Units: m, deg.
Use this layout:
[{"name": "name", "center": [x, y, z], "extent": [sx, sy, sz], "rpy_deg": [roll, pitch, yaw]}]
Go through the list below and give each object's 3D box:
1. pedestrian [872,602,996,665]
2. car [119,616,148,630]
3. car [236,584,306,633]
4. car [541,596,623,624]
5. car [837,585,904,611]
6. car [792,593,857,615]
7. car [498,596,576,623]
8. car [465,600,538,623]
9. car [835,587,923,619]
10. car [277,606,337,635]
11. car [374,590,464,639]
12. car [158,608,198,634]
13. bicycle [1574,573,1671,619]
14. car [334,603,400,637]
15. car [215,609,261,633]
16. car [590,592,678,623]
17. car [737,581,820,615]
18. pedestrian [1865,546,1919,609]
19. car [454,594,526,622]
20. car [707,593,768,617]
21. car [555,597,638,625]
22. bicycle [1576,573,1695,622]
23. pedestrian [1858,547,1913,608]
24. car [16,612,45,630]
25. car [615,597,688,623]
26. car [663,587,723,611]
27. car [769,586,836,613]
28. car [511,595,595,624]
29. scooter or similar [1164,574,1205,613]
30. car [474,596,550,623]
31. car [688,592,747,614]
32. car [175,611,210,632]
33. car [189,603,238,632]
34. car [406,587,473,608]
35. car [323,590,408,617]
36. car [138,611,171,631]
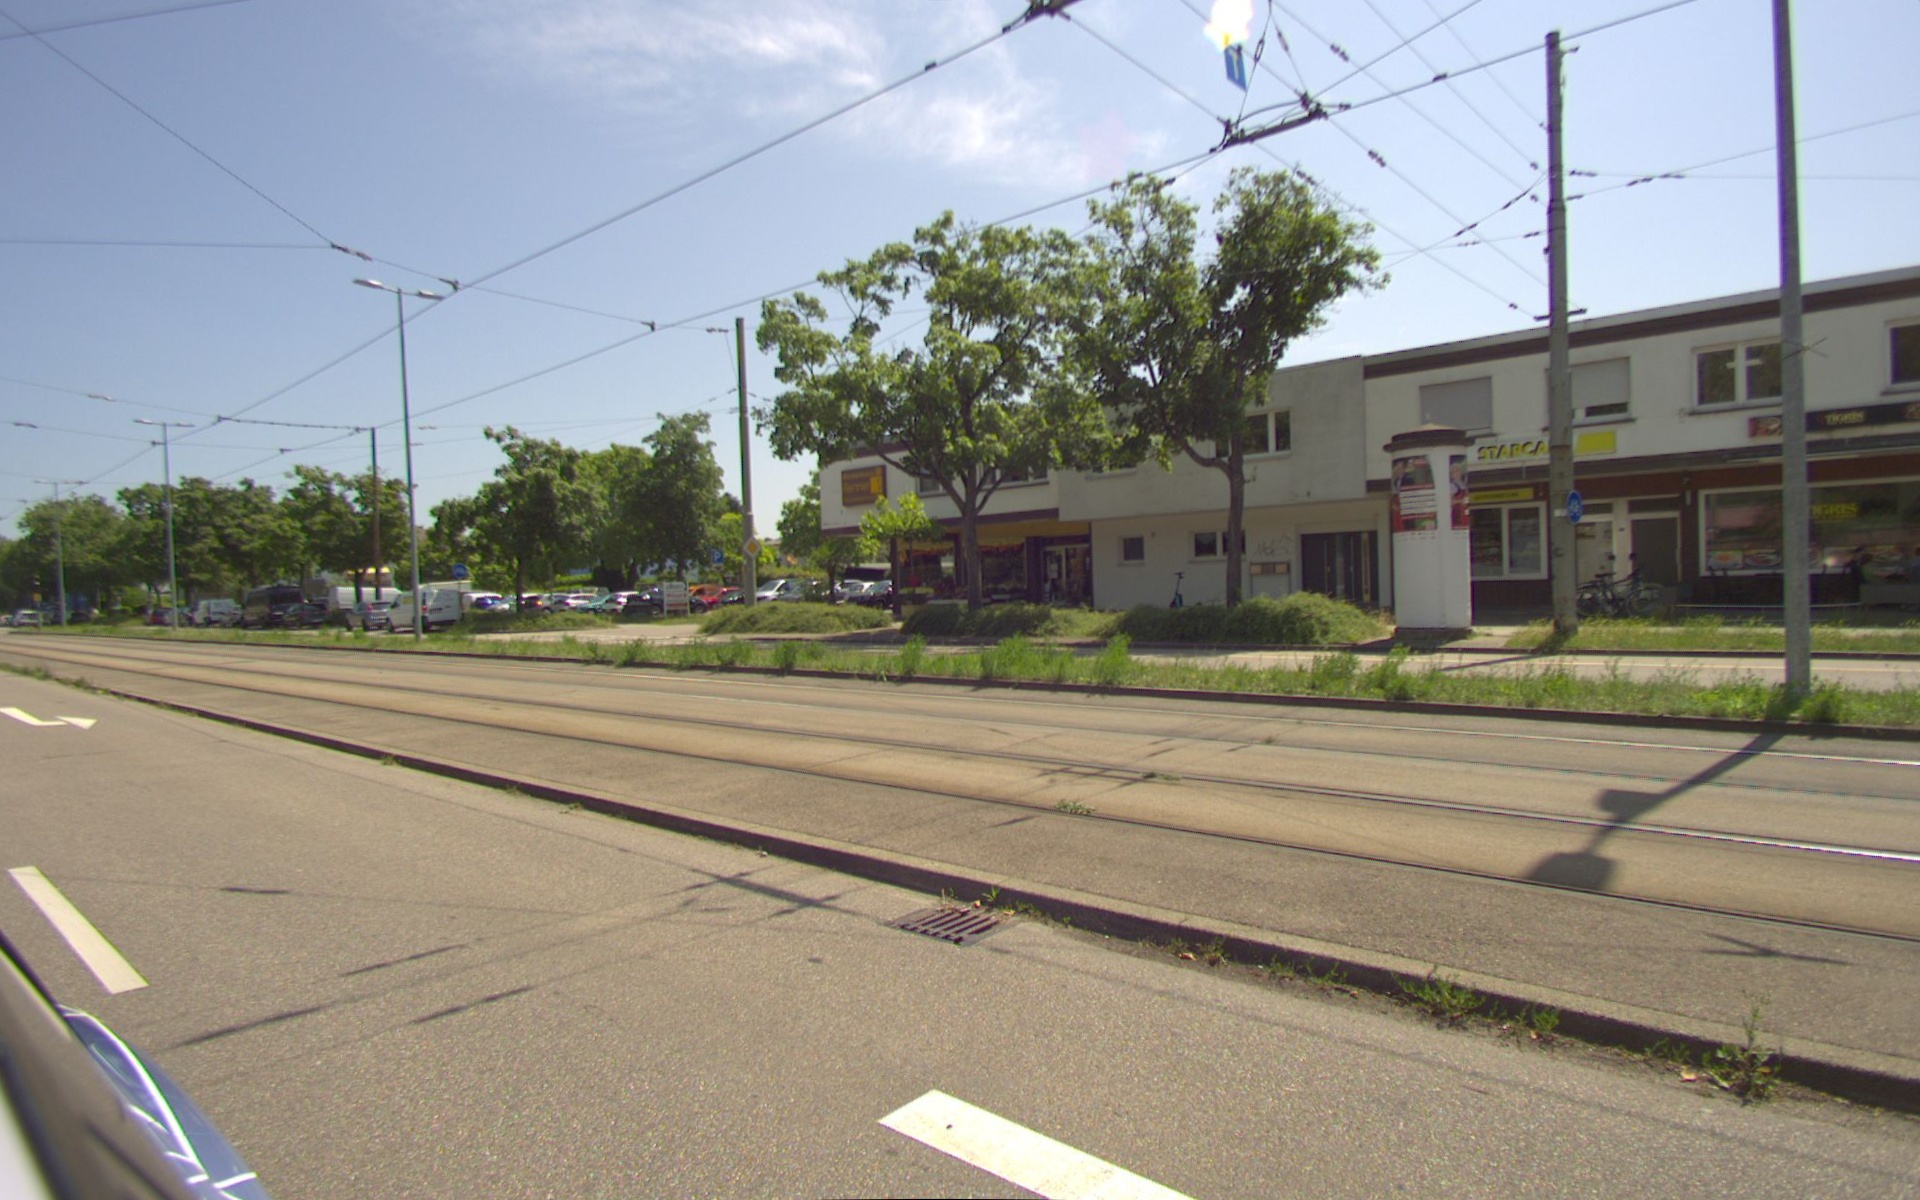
[{"name": "pedestrian", "center": [-0.921, 1.084, 34.843], "extent": [3.997, 2.029, 1.973], "rpy_deg": [0, 0, 40]}, {"name": "car", "center": [-73.896, 2.069, 90.449], "extent": [3.423, 1.167, 1.561], "rpy_deg": [0, 0, 43]}, {"name": "car", "center": [-42.172, 0.509, 61.870], "extent": [5.666, 2.859, 2.214], "rpy_deg": [0, 0, 42]}, {"name": "car", "center": [-21.689, 0.553, 58.208], "extent": [1.855, 1.501, 4.099], "rpy_deg": [0, 0, 34]}, {"name": "car", "center": [-5.377, -0.132, 61.123], "extent": [1.661, 1.531, 3.943], "rpy_deg": [0, 0, 43]}, {"name": "car", "center": [-8.276, 0.214, 62.106], "extent": [1.764, 1.294, 3.675], "rpy_deg": [0, 0, 43]}, {"name": "car", "center": [-25.713, 0.569, 61.566], "extent": [1.827, 1.501, 4.030], "rpy_deg": [-1, 1, 34]}, {"name": "car", "center": [-29.503, 0.711, 65.218], "extent": [1.794, 1.417, 3.950], "rpy_deg": [-1, 0, 37]}, {"name": "car", "center": [-3.718, 0.115, 46.861], "extent": [1.682, 1.306, 3.944], "rpy_deg": [-2, 1, 42]}, {"name": "car", "center": [-37.299, 1.128, 57.765], "extent": [3.751, 1.589, 1.950], "rpy_deg": [0, 0, 42]}, {"name": "car", "center": [-25.247, 0.668, 47.168], "extent": [5.342, 2.025, 1.856], "rpy_deg": [-1, 4, 42]}, {"name": "car", "center": [-60.198, 1.569, 77.898], "extent": [4.495, 1.907, 1.614], "rpy_deg": [0, 0, 41]}, {"name": "bicycle", "center": [14.813, -0.089, 22.666], "extent": [1.758, 0.986, 0.533], "rpy_deg": [0, 0, 41]}, {"name": "car", "center": [-30.092, 1.002, 51.303], "extent": [4.124, 1.513, 1.633], "rpy_deg": [-1, 4, 42]}, {"name": "car", "center": [-48.061, 1.386, 67.349], "extent": [3.608, 1.475, 1.744], "rpy_deg": [0, 0, 42]}, {"name": "car", "center": [-17.665, 0.404, 55.016], "extent": [1.983, 1.501, 4.120], "rpy_deg": [-1, 1, 39]}, {"name": "car", "center": [-11.779, -0.154, 65.909], "extent": [2.225, 2.085, 5.055], "rpy_deg": [0, 0, 41]}, {"name": "pedestrian", "center": [19.258, -0.452, 20.881], "extent": [0.842, 1.278, 0.583], "rpy_deg": [0, 0, 41]}, {"name": "car", "center": [-31.233, 0.514, 67.293], "extent": [1.794, 1.730, 3.951], "rpy_deg": [-1, 1, 37]}, {"name": "car", "center": [-15.245, 0.305, 69.485], "extent": [1.683, 1.597, 3.948], "rpy_deg": [0, 0, 39]}, {"name": "car", "center": [-20.158, 0.576, 56.211], "extent": [1.908, 1.501, 3.995], "rpy_deg": [0, 0, 34]}, {"name": "bicycle", "center": [14.229, -0.046, 21.365], "extent": [2.028, 0.986, 0.604], "rpy_deg": [0, 0, 41]}, {"name": "pedestrian", "center": [19.672, -0.464, 21.524], "extent": [0.842, 1.278, 0.583], "rpy_deg": [0, 0, 41]}, {"name": "car", "center": [-90.746, 2.035, 98.781], "extent": [4.569, 1.622, 1.705], "rpy_deg": [0, 0, 42]}, {"name": "car", "center": [-16.095, 0.521, 52.889], "extent": [1.639, 1.241, 3.385], "rpy_deg": [-1, 1, 34]}, {"name": "car", "center": [-19.142, -0.096, 72.710], "extent": [1.689, 1.665, 4.082], "rpy_deg": [-1, 0, 35]}, {"name": "car", "center": [-9.999, -0.038, 64.260], "extent": [1.804, 1.669, 3.943], "rpy_deg": [0, 0, 43]}, {"name": "car", "center": [-23.841, 0.554, 59.395], "extent": [2.018, 1.501, 4.117], "rpy_deg": [-1, 1, 34]}, {"name": "scooter or similar", "center": [6.949, -0.195, 31.421], "extent": [0.448, 1.200, 1.349], "rpy_deg": [-1, 0, -29]}, {"name": "car", "center": [-27.825, 0.592, 62.926], "extent": [1.862, 1.499, 3.955], "rpy_deg": [-1, 1, 34]}, {"name": "car", "center": [-17.096, 0.203, 71.592], "extent": [1.712, 1.505, 3.953], "rpy_deg": [0, 0, 35]}, {"name": "car", "center": [-56.693, 1.569, 74.768], "extent": [3.261, 1.489, 1.411], "rpy_deg": [0, 0, 41]}, {"name": "car", "center": [-52.512, 1.227, 71.149], "extent": [4.816, 1.963, 1.899], "rpy_deg": [0, 0, 42]}, {"name": "car", "center": [-52.745, -0.251, 102.697], "extent": [2.145, 2.078, 5.674], "rpy_deg": [0, 0, 38]}, {"name": "car", "center": [-46.362, 0.256, 79.040], "extent": [2.029, 1.970, 5.363], "rpy_deg": [0, 0, 42]}, {"name": "car", "center": [-65.300, 1.695, 82.013], "extent": [3.423, 1.491, 1.561], "rpy_deg": [0, 0, 43]}]
